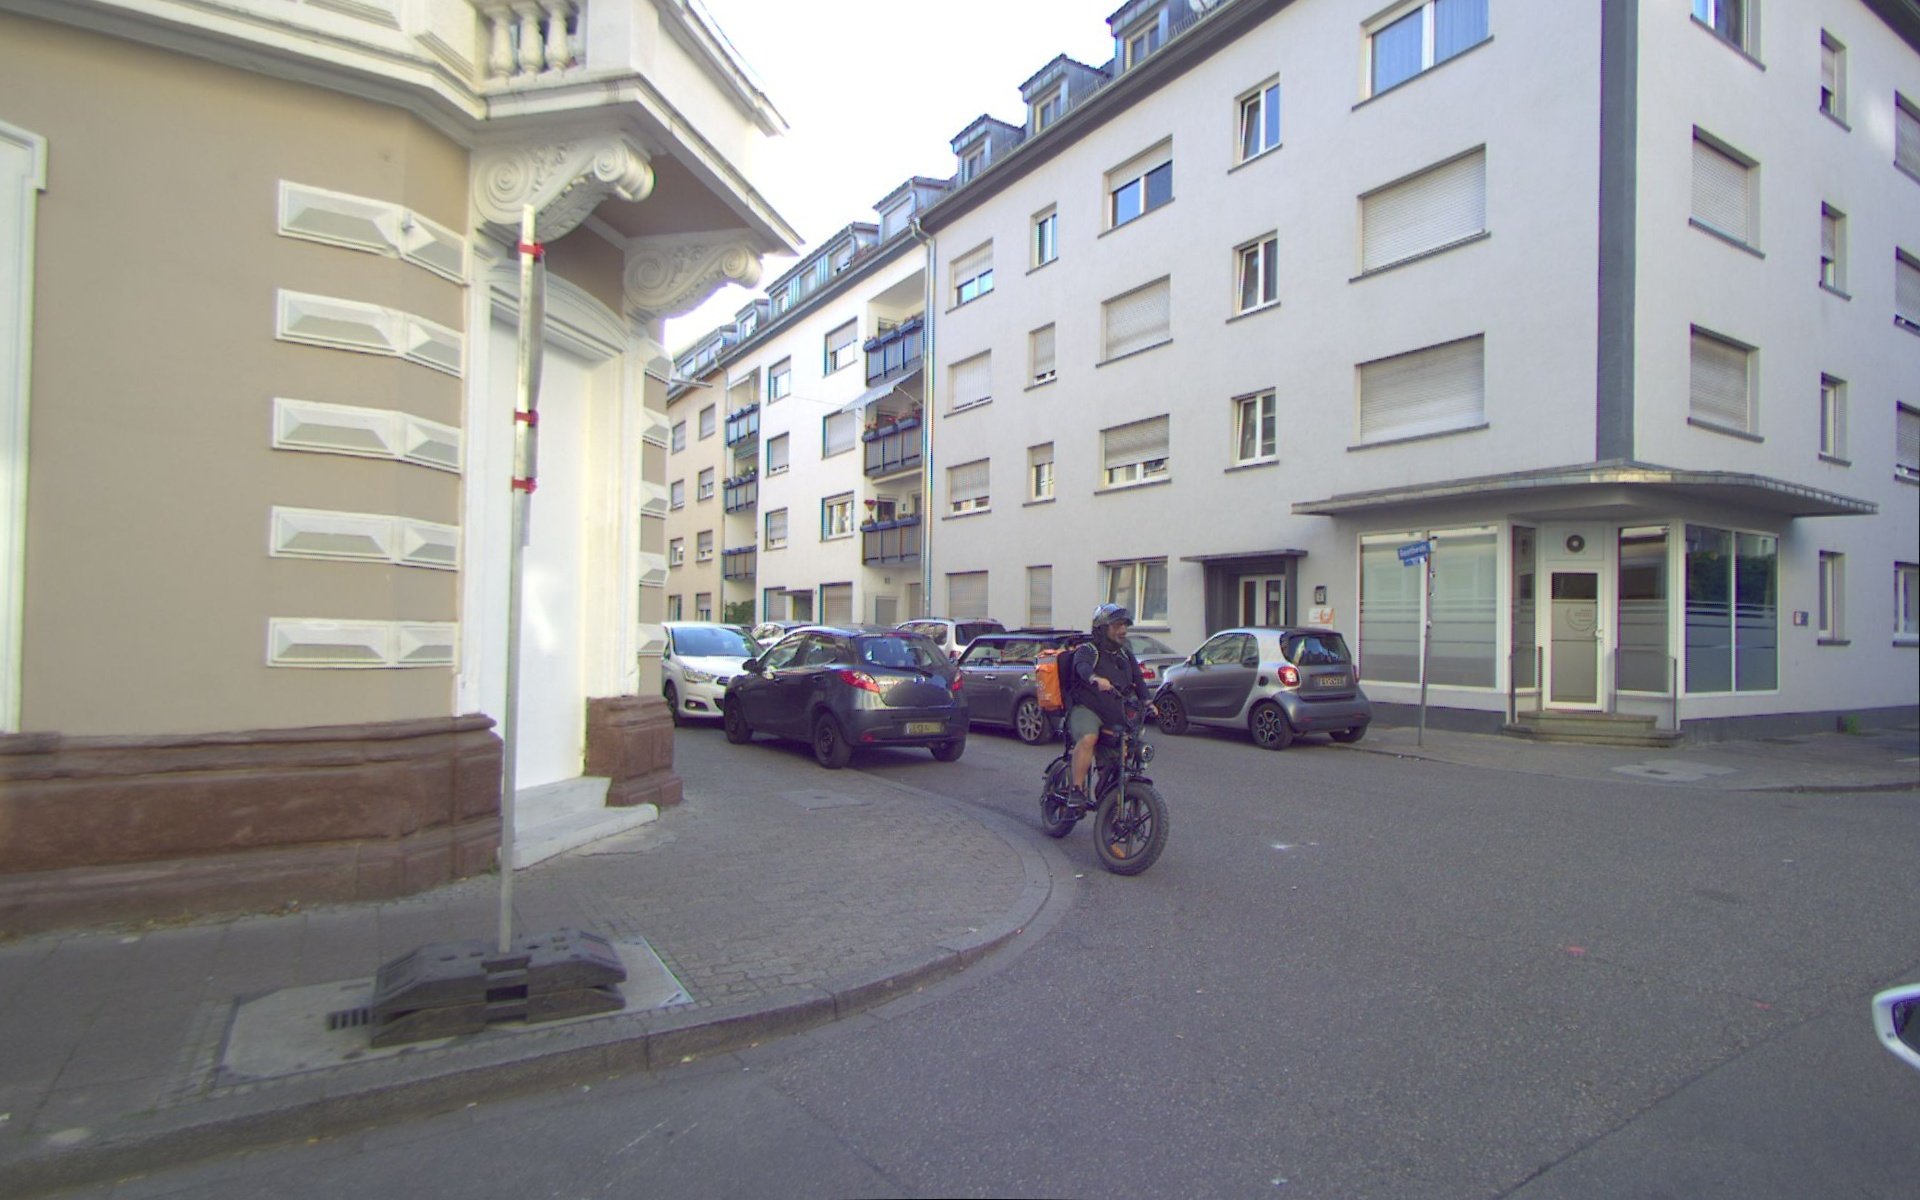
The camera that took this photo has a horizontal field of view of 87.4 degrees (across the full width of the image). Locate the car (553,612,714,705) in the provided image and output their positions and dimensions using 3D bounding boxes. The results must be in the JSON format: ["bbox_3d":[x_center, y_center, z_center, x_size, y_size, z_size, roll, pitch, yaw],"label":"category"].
[{"bbox_3d":[-6.452,1.059,19.560,1.988,1.581,4.056,2,-1,-33],"label":"car"}]

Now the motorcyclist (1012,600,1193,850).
[{"bbox_3d":[0.977,0.802,7.074,0.862,1.589,0.994,0,1,-23],"label":"motorcyclist"}]

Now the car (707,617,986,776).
[{"bbox_3d":[-1.445,0.981,11.680,1.671,1.499,3.552,2,-1,-36],"label":"car"}]

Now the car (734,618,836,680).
[{"bbox_3d":[-5.226,1.397,29.653,1.641,1.666,3.572,2,-1,-34],"label":"car"}]

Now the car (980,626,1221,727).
[{"bbox_3d":[2.313,1.234,17.583,1.946,1.472,4.227,2,-1,-31],"label":"car"}]

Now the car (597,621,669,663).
[{"bbox_3d":[-13.689,1.730,41.881,1.816,1.581,4.055,2,-1,-34],"label":"car"}]

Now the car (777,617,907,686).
[{"bbox_3d":[-3.072,1.248,25.468,1.610,1.581,4.055,2,-1,-34],"label":"car"}]

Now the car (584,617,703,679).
[{"bbox_3d":[-8.703,1.247,27.362,1.978,1.505,4.623,2,-1,-32],"label":"car"}]

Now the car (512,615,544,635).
[{"bbox_3d":[-35.945,2.073,83.449,1.976,1.646,4.550,2,-2,-29],"label":"car"}]

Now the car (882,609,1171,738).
[{"bbox_3d":[0.786,0.910,14.059,1.981,1.505,3.960,2,-1,-35],"label":"car"}]

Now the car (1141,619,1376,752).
[{"bbox_3d":[4.045,1.087,13.899,1.629,1.586,2.741,1,-1,-31],"label":"car"}]

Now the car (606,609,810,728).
[{"bbox_3d":[-4.062,0.966,15.711,1.816,1.581,4.055,2,-1,-34],"label":"car"}]

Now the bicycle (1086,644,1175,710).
[{"bbox_3d":[3.390,1.517,20.167,0.483,1.152,2.039,2,0,-33],"label":"bicycle"}]

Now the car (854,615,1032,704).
[{"bbox_3d":[-0.470,1.196,21.562,1.979,1.675,4.057,2,-1,-33],"label":"car"}]

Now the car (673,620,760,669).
[{"bbox_3d":[-8.319,1.465,34.078,1.573,1.507,3.945,2,-1,-34],"label":"car"}]

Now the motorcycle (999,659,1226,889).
[{"bbox_3d":[0.997,1.111,7.025,0.795,1.266,1.688,0,1,-23],"label":"motorcycle"}]
